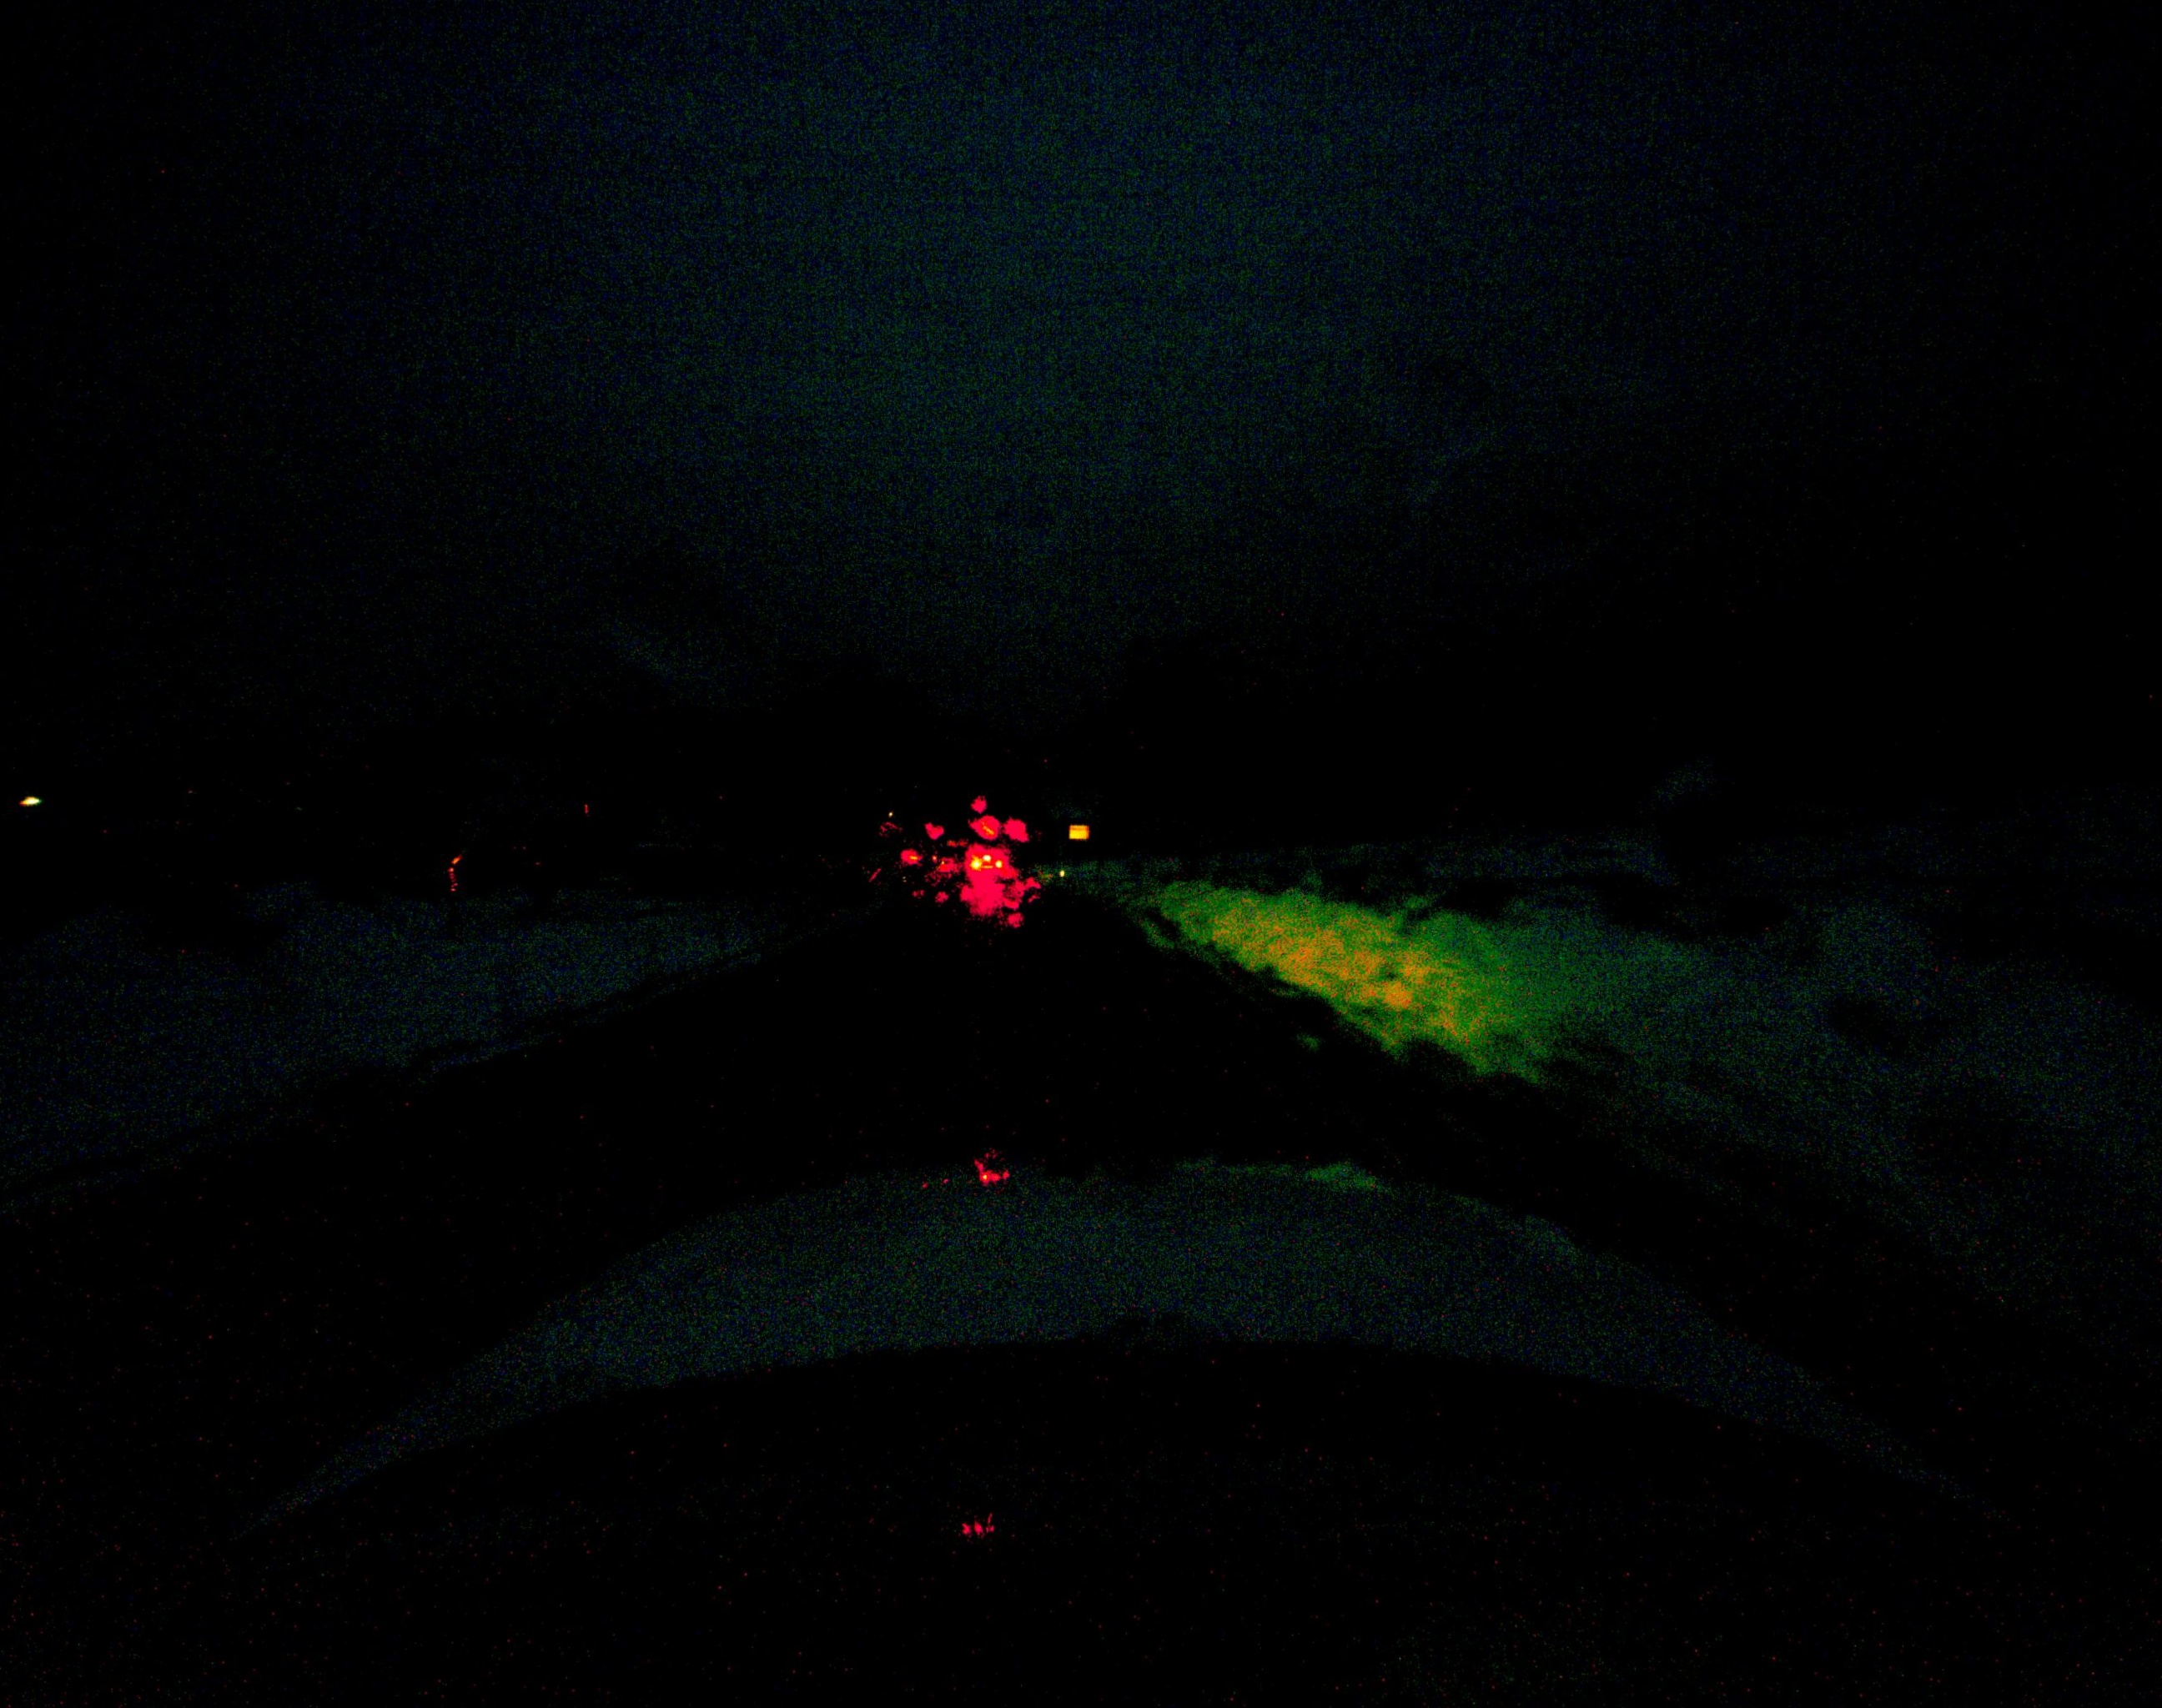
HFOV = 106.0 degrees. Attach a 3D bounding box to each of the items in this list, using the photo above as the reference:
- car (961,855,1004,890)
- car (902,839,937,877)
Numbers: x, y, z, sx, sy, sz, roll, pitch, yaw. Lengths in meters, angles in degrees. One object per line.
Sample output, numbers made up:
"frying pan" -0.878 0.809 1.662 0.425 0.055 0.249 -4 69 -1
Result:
"car" -5.813 1.044 47.580 2.273 1.840 4.991 -2 0 -9
"car" -13.269 0.349 67.275 2.434 3.019 5.310 -1 -1 -8
